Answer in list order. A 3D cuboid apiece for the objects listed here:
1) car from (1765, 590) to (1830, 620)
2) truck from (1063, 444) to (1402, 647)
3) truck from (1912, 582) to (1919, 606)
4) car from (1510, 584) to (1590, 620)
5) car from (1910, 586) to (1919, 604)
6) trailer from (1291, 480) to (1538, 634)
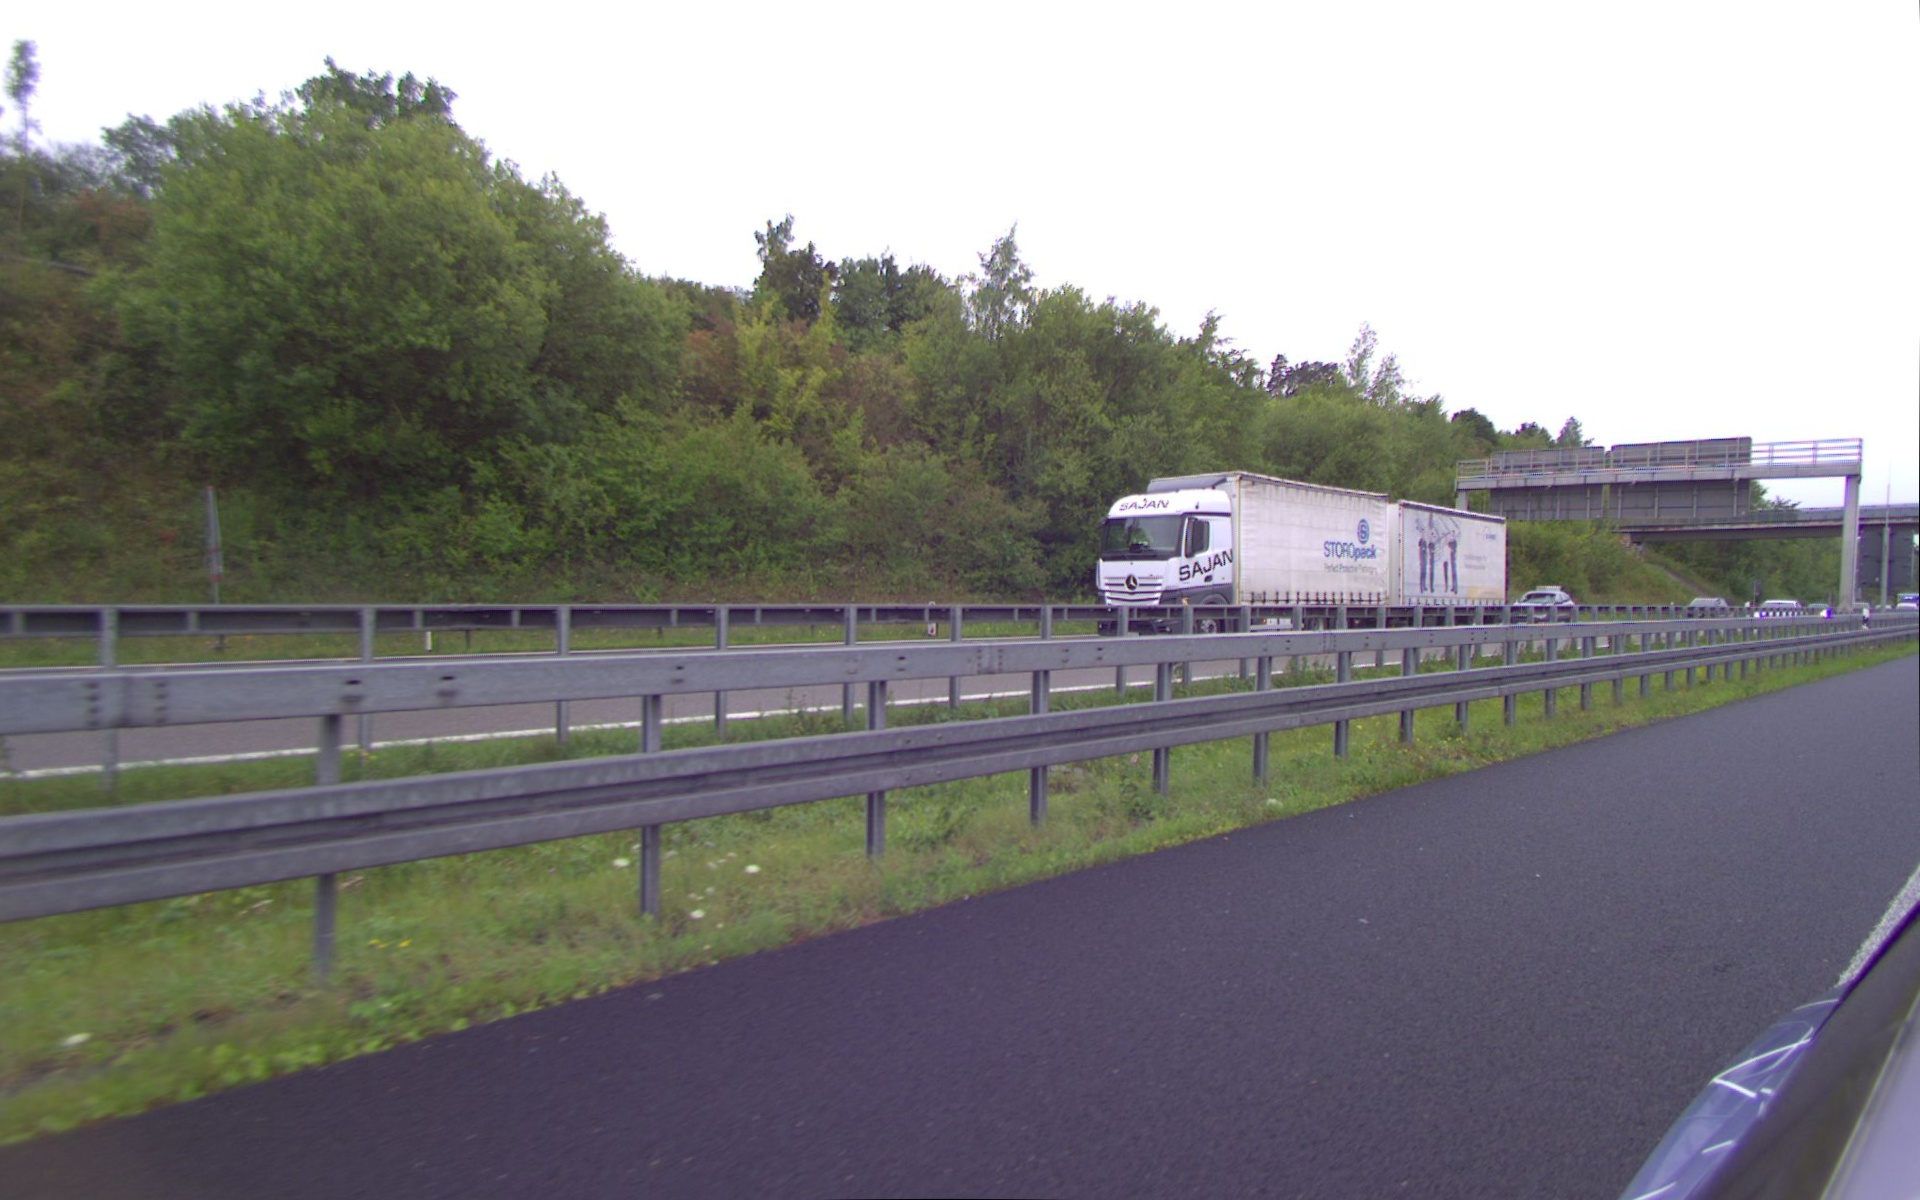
[{"bbox_3d":[42.135,0.220,50.897,4.085,1.465,1.863,0,1,-41],"label":"car"},{"bbox_3d":[7.463,-1.212,26.408,10.237,4.343,3.443,0,1,-41],"label":"truck"},{"bbox_3d":[142.599,-0.898,149.129,9.128,3.460,2.904,-1,1,-44],"label":"truck"},{"bbox_3d":[27.922,0.060,47.867,4.419,1.634,1.864,0,1,-40],"label":"car"},{"bbox_3d":[101.065,-0.494,105.964,4.567,1.827,1.863,0,1,-41],"label":"car"},{"bbox_3d":[15.185,-1.256,33.247,10.272,4.343,3.443,0,1,-41],"label":"trailer"}]
